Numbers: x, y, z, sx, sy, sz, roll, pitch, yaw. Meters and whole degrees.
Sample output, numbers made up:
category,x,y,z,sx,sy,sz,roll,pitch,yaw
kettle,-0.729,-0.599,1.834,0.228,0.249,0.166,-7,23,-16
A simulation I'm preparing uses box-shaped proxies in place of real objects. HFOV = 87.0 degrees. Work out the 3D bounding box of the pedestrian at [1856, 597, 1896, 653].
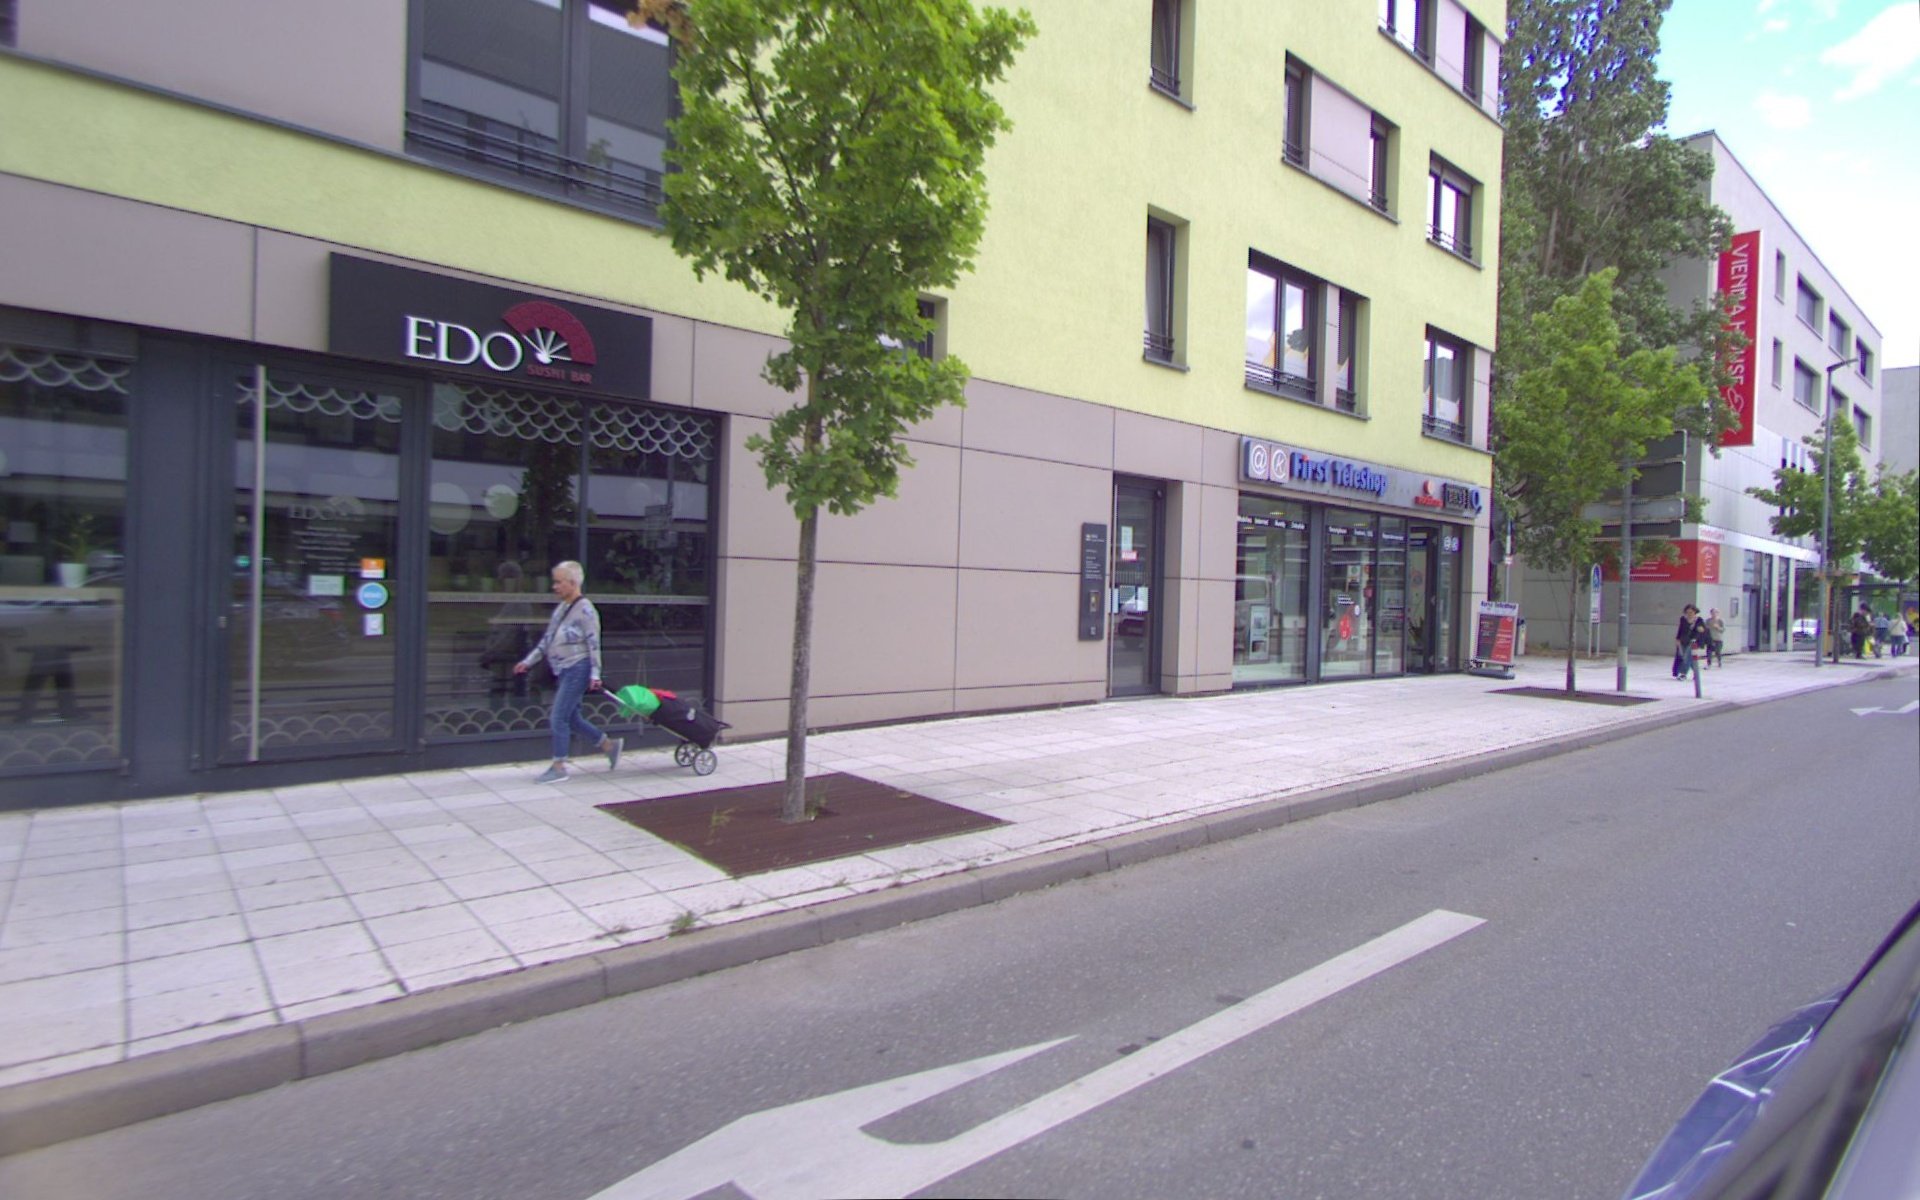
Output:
category,x,y,z,sx,sy,sz,roll,pitch,yaw
pedestrian,29.039,0.786,32.083,0.719,1.704,0.723,1,2,-35

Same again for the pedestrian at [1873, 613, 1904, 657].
category,x,y,z,sx,sy,sz,roll,pitch,yaw
pedestrian,35.290,1.329,38.464,0.702,1.628,0.742,2,0,-40

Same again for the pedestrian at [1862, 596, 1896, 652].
category,x,y,z,sx,sy,sz,roll,pitch,yaw
pedestrian,29.912,0.778,32.932,0.840,1.791,0.581,1,2,-35

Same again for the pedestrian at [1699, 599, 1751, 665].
category,x,y,z,sx,sy,sz,roll,pitch,yaw
pedestrian,19.274,0.790,25.508,0.790,1.603,0.870,1,1,-41

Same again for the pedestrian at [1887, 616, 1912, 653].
category,x,y,z,sx,sy,sz,roll,pitch,yaw
pedestrian,44.647,1.644,48.090,0.603,1.690,0.746,2,0,-40

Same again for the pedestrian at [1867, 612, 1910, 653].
category,x,y,z,sx,sy,sz,roll,pitch,yaw
pedestrian,30.797,1.064,33.581,0.720,1.274,0.944,1,2,-43

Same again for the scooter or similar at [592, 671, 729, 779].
category,x,y,z,sx,sy,sz,roll,pitch,yaw
scooter or similar,-2.274,0.927,7.704,0.810,0.681,0.593,1,2,-41

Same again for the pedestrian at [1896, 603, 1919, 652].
category,x,y,z,sx,sy,sz,roll,pitch,yaw
pedestrian,32.246,0.928,34.295,0.719,1.610,0.581,1,2,-35

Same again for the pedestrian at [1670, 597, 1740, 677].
category,x,y,z,sx,sy,sz,roll,pitch,yaw
pedestrian,15.637,0.756,21.240,0.998,1.603,0.949,1,1,-41

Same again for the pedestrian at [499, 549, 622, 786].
category,x,y,z,sx,sy,sz,roll,pitch,yaw
pedestrian,-2.924,0.453,7.390,0.593,1.613,0.697,1,2,-41

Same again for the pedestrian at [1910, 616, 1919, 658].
category,x,y,z,sx,sy,sz,roll,pitch,yaw
pedestrian,39.969,1.543,42.000,0.603,1.690,0.656,2,0,-40
